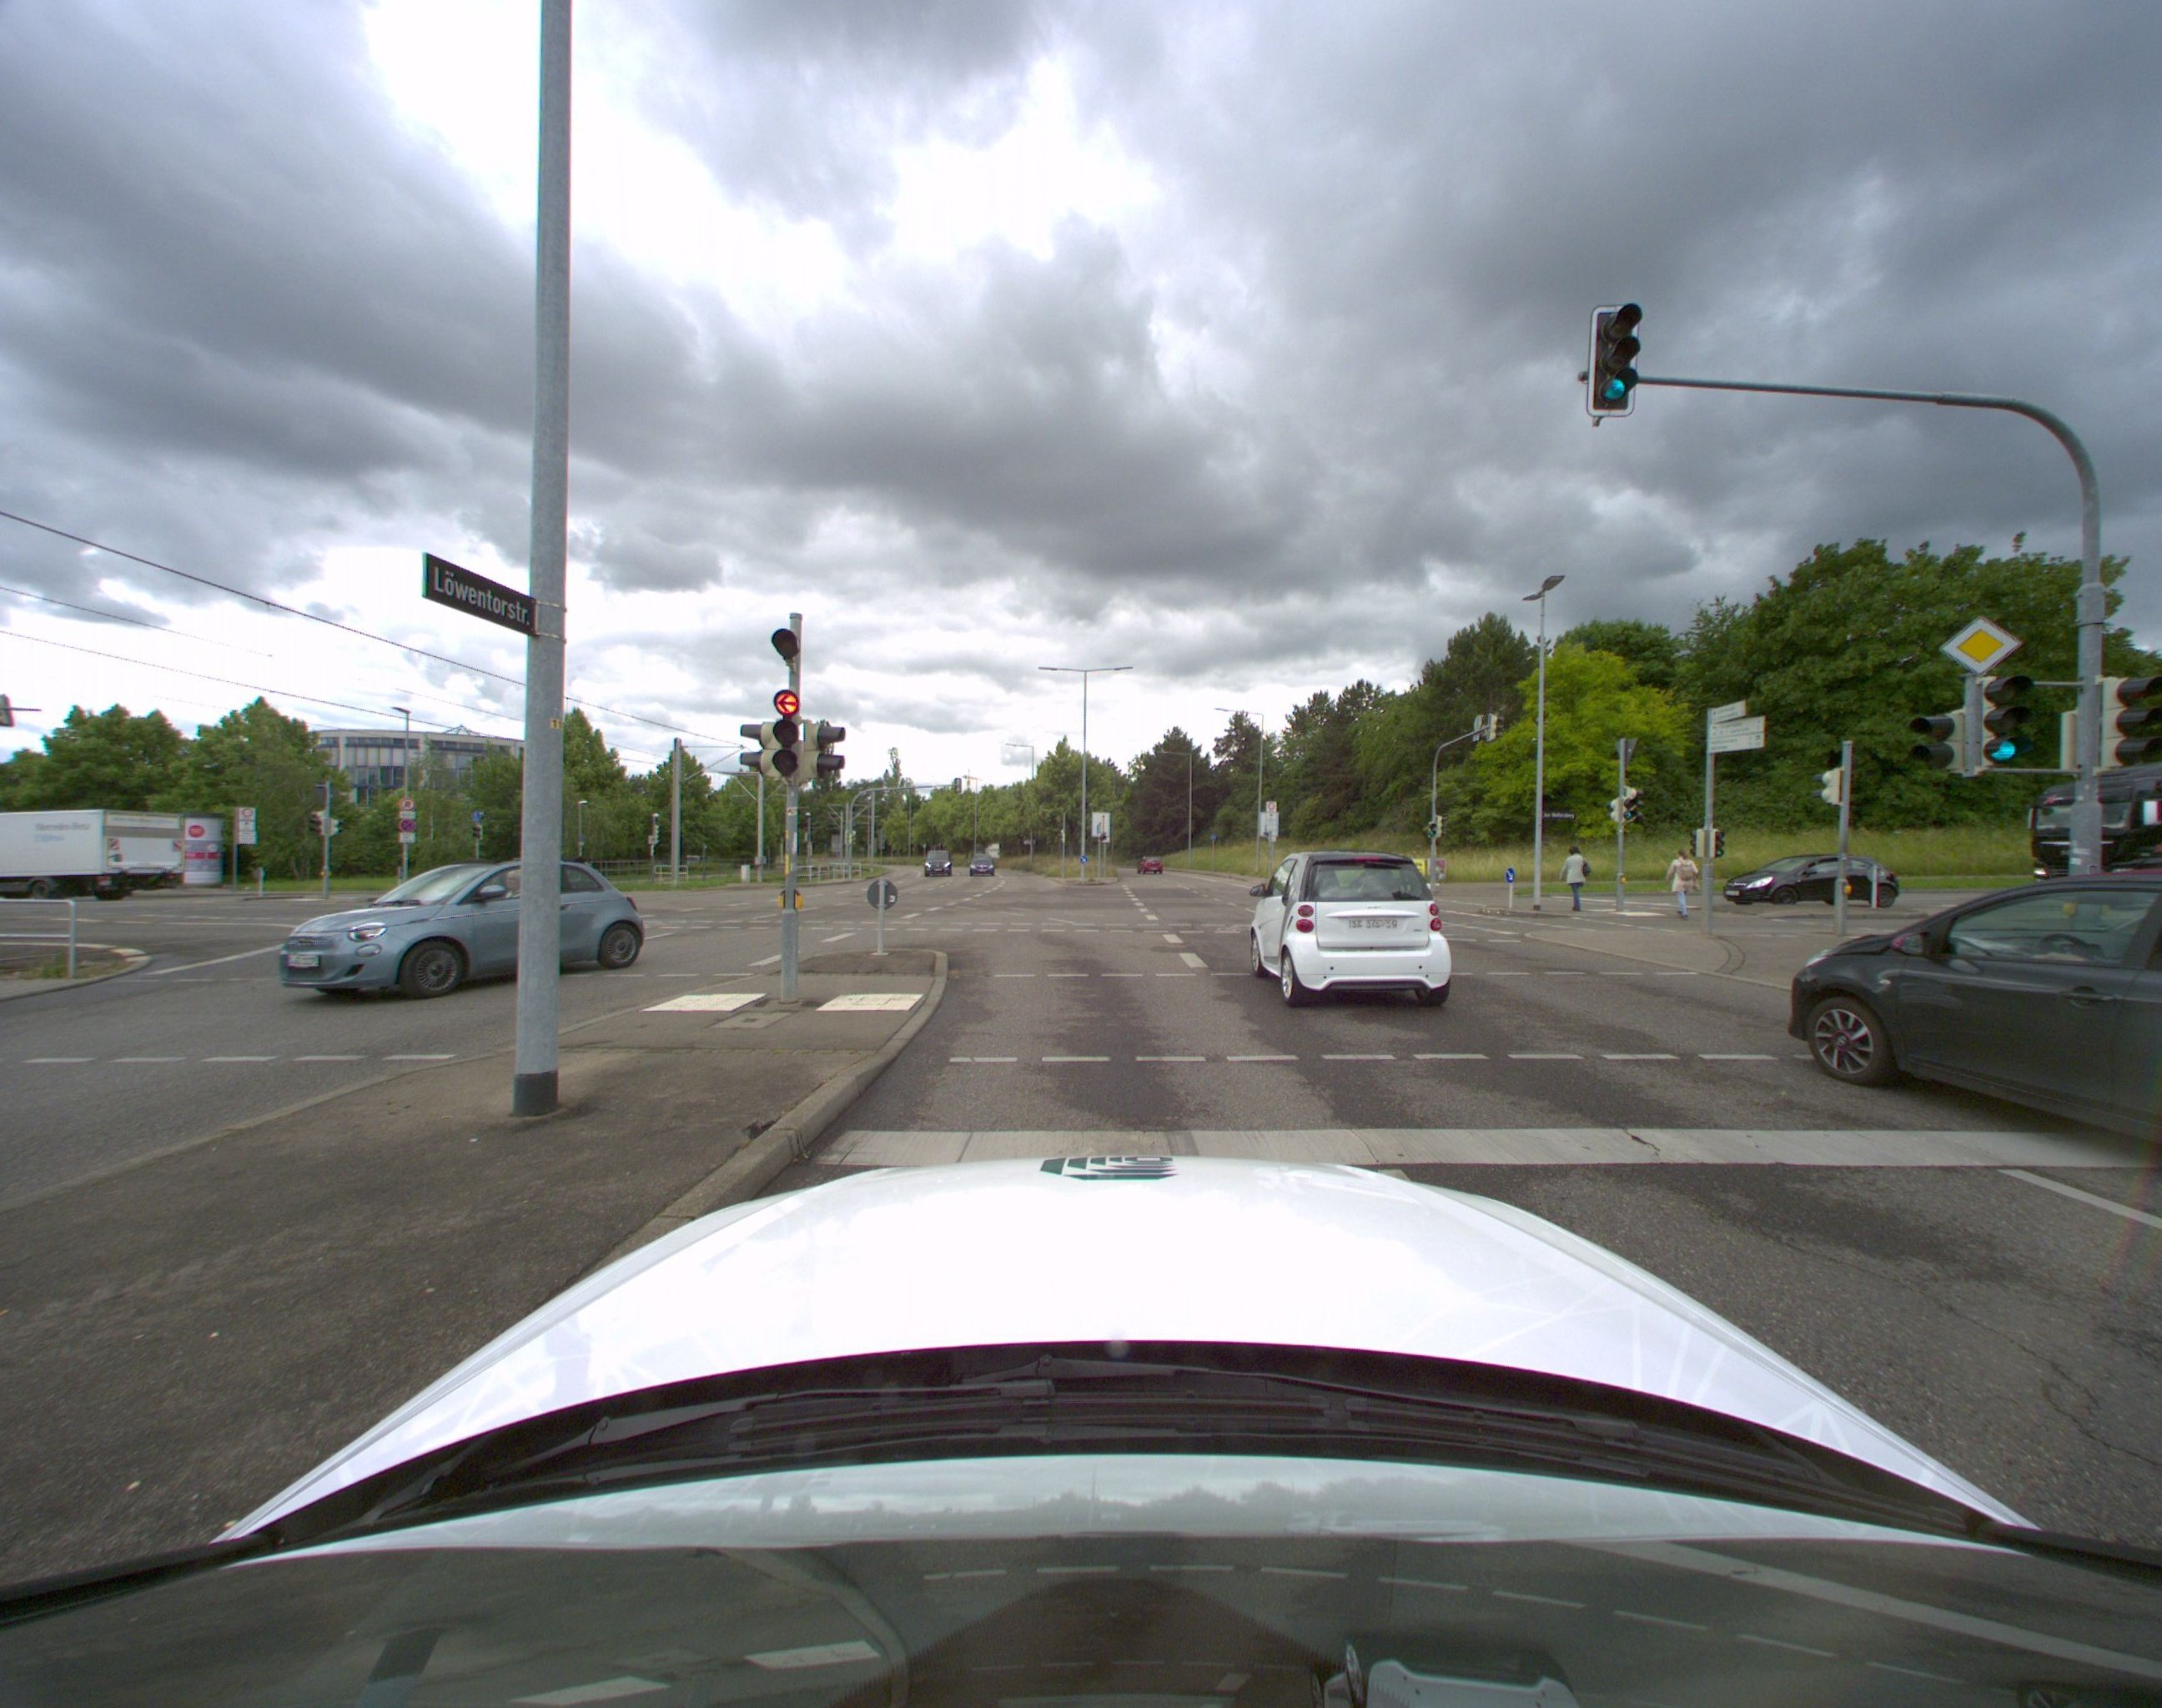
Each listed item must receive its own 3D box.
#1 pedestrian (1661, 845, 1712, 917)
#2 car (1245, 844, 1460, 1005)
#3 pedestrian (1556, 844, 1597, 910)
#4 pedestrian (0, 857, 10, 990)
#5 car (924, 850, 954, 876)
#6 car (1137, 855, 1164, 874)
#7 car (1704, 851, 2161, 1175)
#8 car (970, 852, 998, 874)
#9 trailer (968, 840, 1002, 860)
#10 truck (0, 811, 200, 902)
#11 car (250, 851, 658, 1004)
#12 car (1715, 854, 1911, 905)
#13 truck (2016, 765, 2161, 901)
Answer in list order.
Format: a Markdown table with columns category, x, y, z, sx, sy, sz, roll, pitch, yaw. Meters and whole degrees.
| category | x | y | z | sx | sy | sz | roll | pitch | yaw |
| --- | --- | --- | --- | --- | --- | --- | --- | --- | --- |
| pedestrian | 13.777 | 0.611 | 18.546 | 0.640 | 1.612 | 0.715 | 0 | -1 | 7 |
| car | 2.843 | 0.682 | 9.089 | 1.585 | 1.516 | 2.768 | 0 | -1 | 3 |
| pedestrian | 12.673 | 0.577 | 20.841 | 0.640 | 1.662 | 0.715 | 0 | -1 | 8 |
| pedestrian | -12.745 | 0.800 | 9.076 | 0.632 | 1.536 | 0.719 | 0 | -1 | -2 |
| car | -10.446 | 0.632 | 60.212 | 1.886 | 1.812 | 5.079 | -1 | 0 | -7 |
| car | 6.030 | 0.907 | 71.138 | 1.781 | 1.603 | 3.880 | 0 | -1 | -5 |
| car | 5.678 | 0.716 | 4.490 | 1.607 | 1.453 | 3.883 | 0 | -1 | 2 |
| car | -7.000 | 0.655 | 59.220 | 1.732 | 1.508 | 3.656 | 0 | -1 | -3 |
| trailer | -15.368 | -0.649 | 130.392 | 2.767 | 3.012 | 6.020 | 0 | -1 | -36 |
| truck | -42.401 | 0.111 | 33.745 | 9.206 | 3.532 | 3.022 | 0 | 0 | 6 |
| car | -7.452 | 0.751 | 10.129 | 1.741 | 1.528 | 3.619 | -1 | -1 | 21 |
| car | 20.337 | 0.696 | 22.752 | 3.859 | 1.338 | 1.698 | 0 | -1 | 4 |
| truck | 30.139 | -0.551 | 22.178 | 5.971 | 3.486 | 2.694 | 0 | -1 | 4 |
